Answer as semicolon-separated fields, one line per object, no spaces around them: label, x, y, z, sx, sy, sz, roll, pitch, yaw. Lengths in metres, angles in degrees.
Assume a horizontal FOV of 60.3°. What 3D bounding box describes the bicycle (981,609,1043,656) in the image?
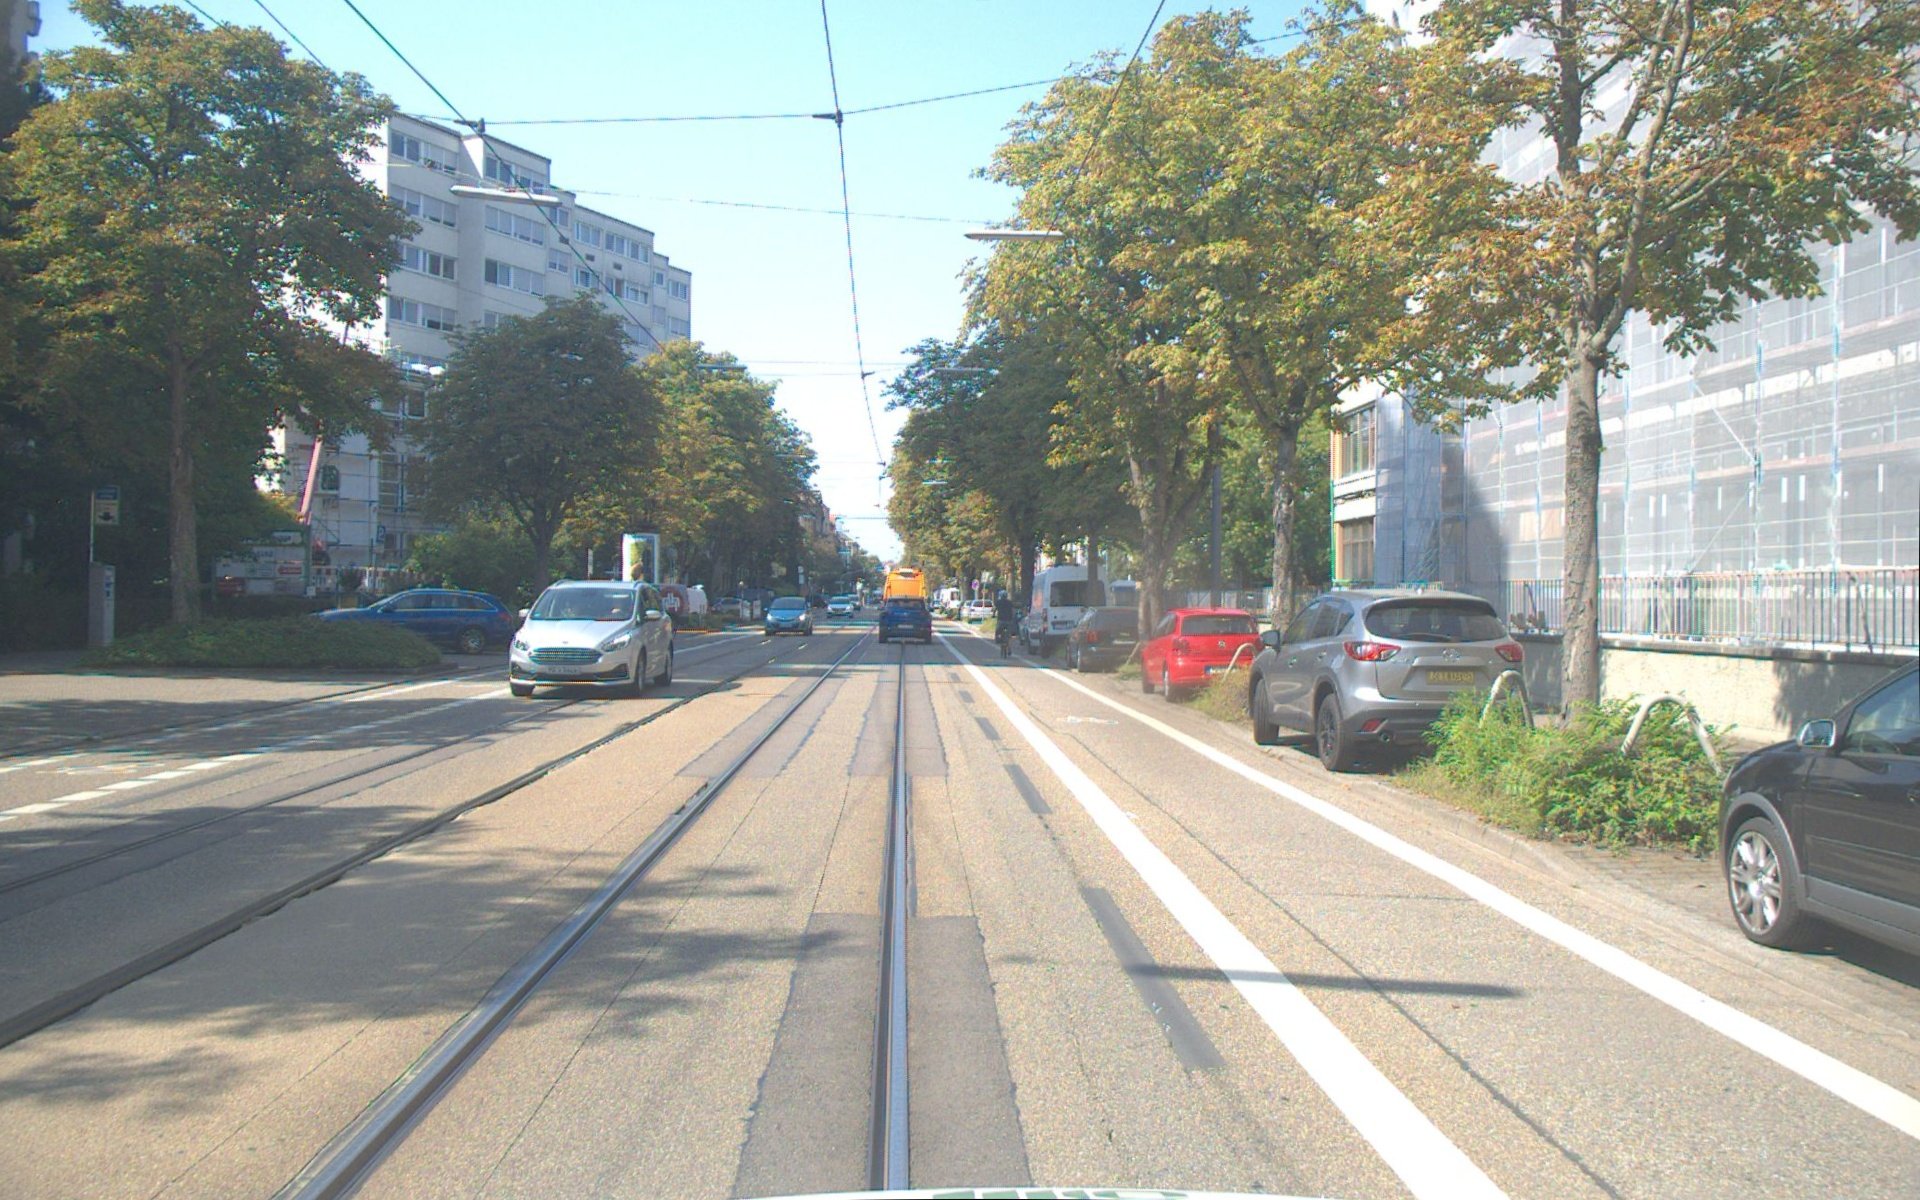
bicycle;1.335;0.833;43.827;1.373;1.154;3.998;1;0;-2

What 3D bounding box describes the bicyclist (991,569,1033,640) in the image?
bicyclist;1.382;0.123;43.809;1.011;1.844;1.016;1;0;-2

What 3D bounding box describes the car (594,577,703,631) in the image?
car;-12.402;0.171;65.997;1.826;2.049;3.971;1;0;45

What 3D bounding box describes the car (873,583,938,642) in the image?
car;-1.843;0.398;56.204;2.092;1.891;5.566;0;0;-2

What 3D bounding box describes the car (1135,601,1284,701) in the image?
car;4.037;0.787;27.255;1.705;1.488;3.682;1;0;-3

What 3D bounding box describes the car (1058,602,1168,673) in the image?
car;3.391;0.802;37.374;1.870;1.456;4.290;1;0;-3

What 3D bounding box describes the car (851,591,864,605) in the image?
car;-14.251;-0.281;230.206;1.712;1.828;3.998;1;0;-3

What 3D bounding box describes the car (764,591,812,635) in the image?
car;-6.660;0.475;64.268;1.601;1.612;4.186;1;0;-3

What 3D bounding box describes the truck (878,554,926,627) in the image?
truck;-2.623;-0.413;75.279;2.092;3.179;6.082;0;0;-2

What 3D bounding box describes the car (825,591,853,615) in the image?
car;-8.596;0.210;117.561;1.861;1.589;4.120;1;0;-3

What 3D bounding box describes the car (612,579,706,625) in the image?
car;-13.920;0.086;76.614;1.826;2.049;3.971;1;0;45

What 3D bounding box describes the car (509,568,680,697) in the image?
car;-5.338;0.438;24.672;1.744;1.713;4.345;1;0;-3

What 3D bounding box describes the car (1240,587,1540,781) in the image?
car;4.195;0.737;16.876;1.705;1.697;4.359;1;0;-3

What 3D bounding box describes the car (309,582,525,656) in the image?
car;-12.520;0.443;38.170;4.512;1.580;1.984;1;0;-26

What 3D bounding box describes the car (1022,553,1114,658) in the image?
car;3.047;0.135;47.957;1.954;2.804;5.758;1;0;-3

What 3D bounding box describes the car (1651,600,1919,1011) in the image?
car;4.608;0.838;6.794;1.601;1.612;4.186;1;0;-3
